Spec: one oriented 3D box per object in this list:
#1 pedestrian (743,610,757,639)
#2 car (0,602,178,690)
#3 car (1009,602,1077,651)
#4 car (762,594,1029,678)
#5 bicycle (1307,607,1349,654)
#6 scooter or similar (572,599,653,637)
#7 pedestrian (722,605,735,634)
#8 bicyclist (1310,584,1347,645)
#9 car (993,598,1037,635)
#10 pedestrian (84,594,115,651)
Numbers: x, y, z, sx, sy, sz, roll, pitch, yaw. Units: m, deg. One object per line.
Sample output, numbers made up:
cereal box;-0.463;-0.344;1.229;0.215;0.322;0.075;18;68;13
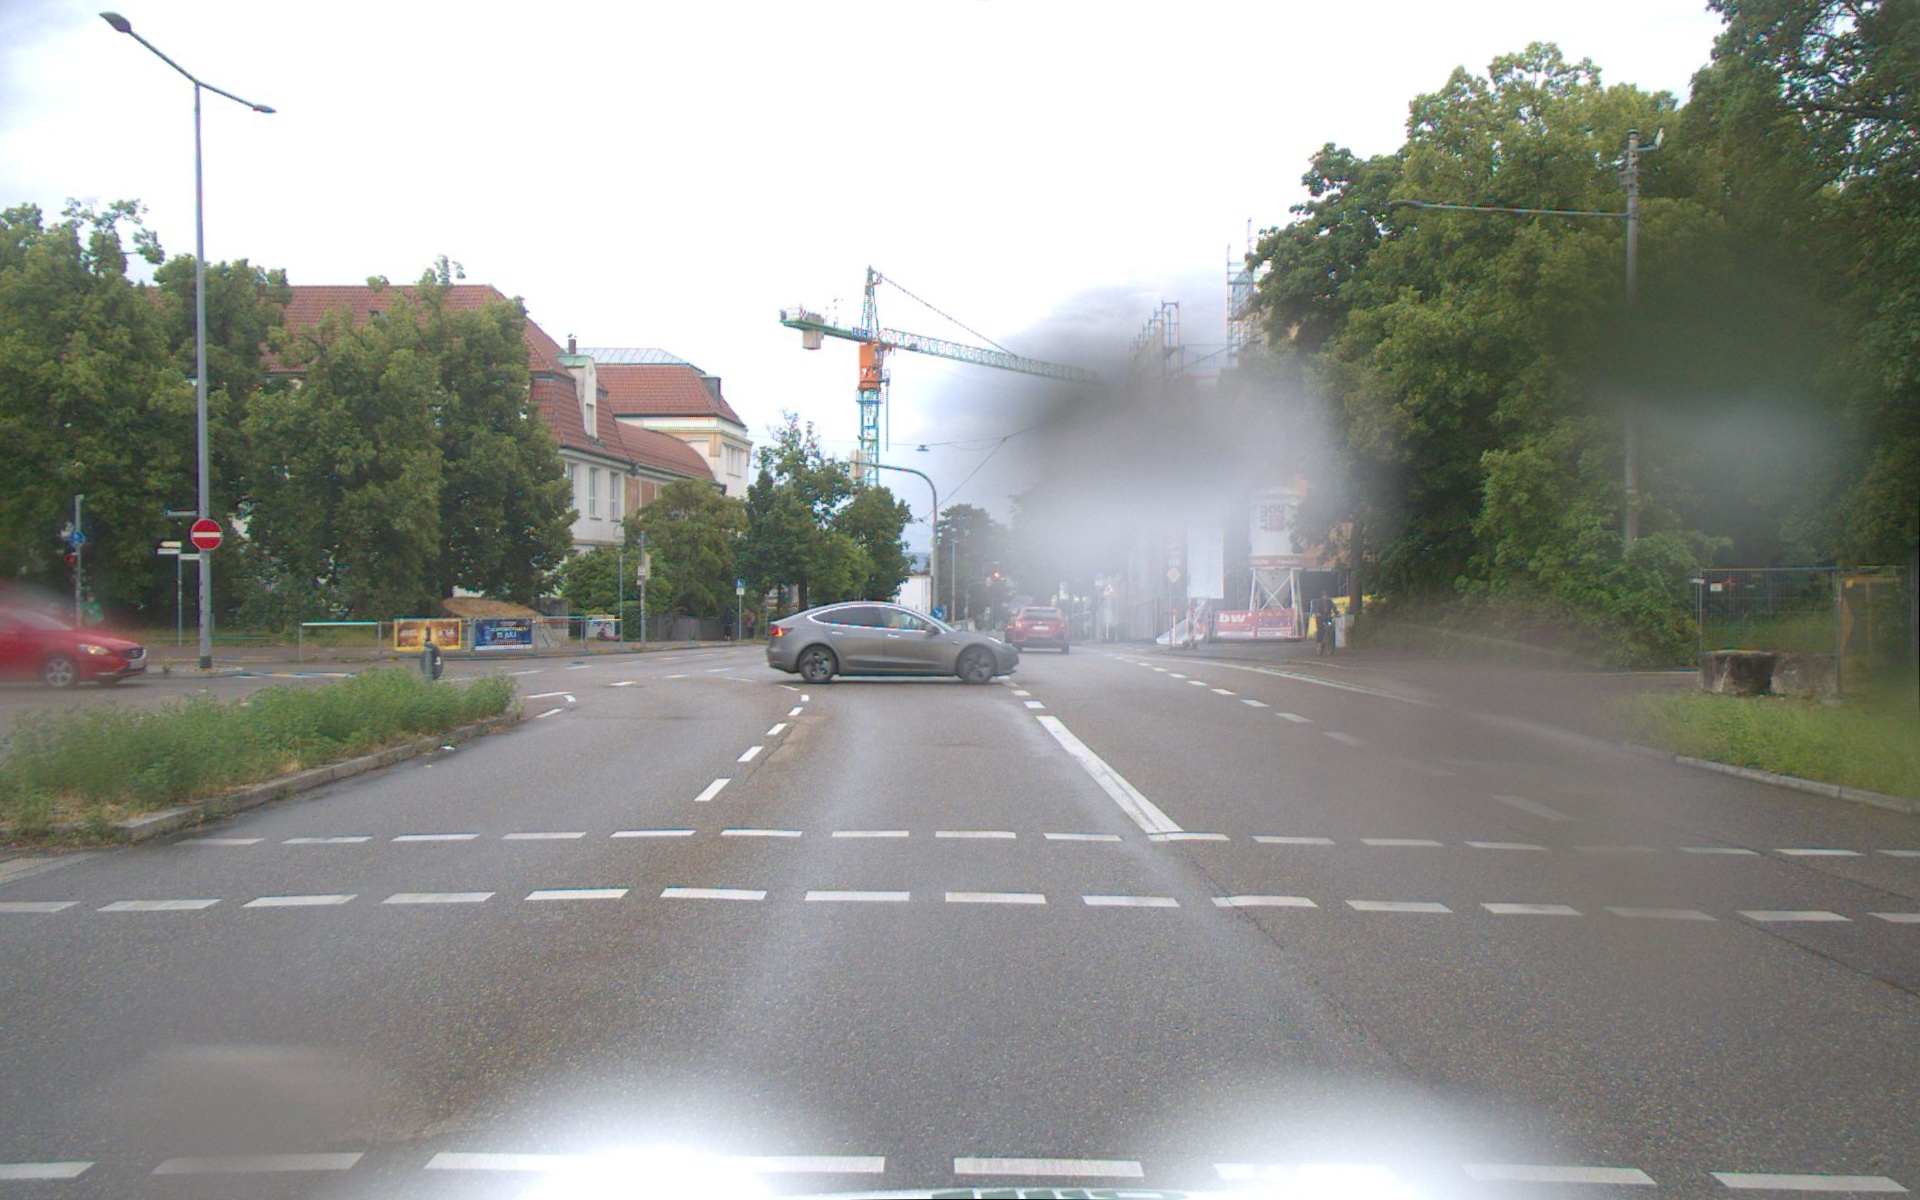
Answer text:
pedestrian;-10.719;1.257;84.456;0.624;1.410;0.606;2;-2;-2
car;-16.389;0.772;28.934;4.435;1.450;1.999;1;0;-2
car;2.663;0.814;52.226;1.951;1.450;4.522;0;0;5
car;-1.185;0.635;30.079;4.676;1.450;1.998;1;0;-5
bicycle;9.835;0.820;44.264;0.705;1.214;1.755;2;-2;0
scooter or similar;-13.813;0.693;65.784;3.026;1.465;0.948;-1;0;-4
pedestrian;-11.657;0.983;83.359;0.575;1.454;0.467;2;-2;-1
bicyclist;9.852;0.393;44.278;0.705;1.591;1.142;2;-2;0
car;2.763;0.841;84.138;1.953;1.736;3.998;2;-2;-2
pedestrian;-23.434;0.608;45.028;0.608;1.516;0.768;0;0;-17
